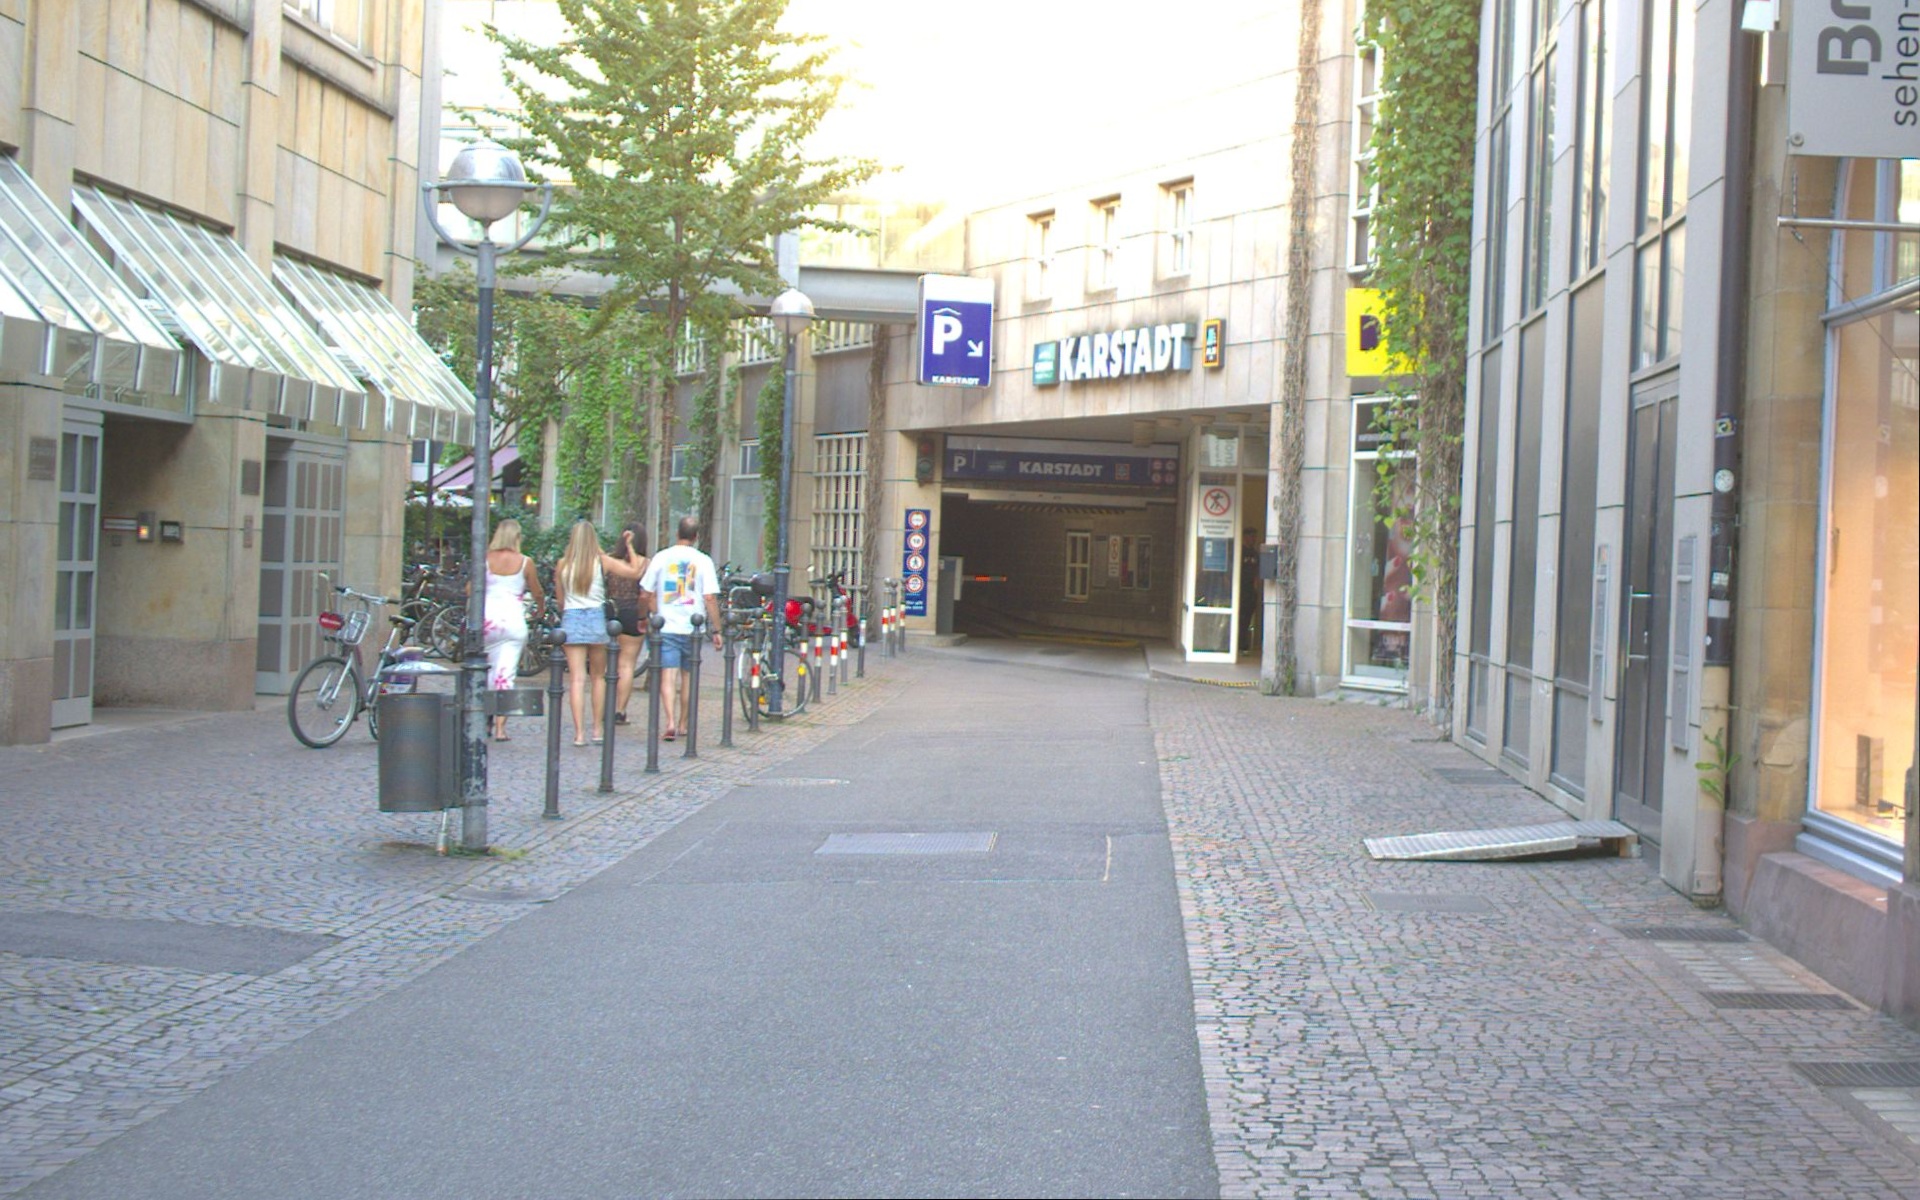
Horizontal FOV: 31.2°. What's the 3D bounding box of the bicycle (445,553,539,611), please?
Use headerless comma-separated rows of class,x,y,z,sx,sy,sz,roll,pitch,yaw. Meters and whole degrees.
bicycle,-9.369,-0.352,68.793,1.773,1.110,0.543,1,1,-15

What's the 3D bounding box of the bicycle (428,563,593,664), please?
bicycle,-5.393,0.163,41.242,1.872,1.173,0.534,1,1,-20

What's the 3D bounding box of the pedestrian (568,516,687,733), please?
pedestrian,-2.828,0.198,29.286,0.785,1.789,0.972,2,1,6

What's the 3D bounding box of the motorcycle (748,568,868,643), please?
motorcycle,-2.219,0.080,50.142,1.662,1.047,0.464,1,1,-18

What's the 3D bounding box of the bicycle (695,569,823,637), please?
bicycle,-3.030,0.048,51.806,1.847,0.979,0.464,1,1,-18

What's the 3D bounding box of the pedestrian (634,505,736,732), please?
pedestrian,-2.260,0.139,28.198,0.742,1.816,0.878,1,1,-7

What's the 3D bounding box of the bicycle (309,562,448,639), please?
bicycle,-8.138,0.005,48.118,1.824,1.039,0.534,1,1,-20

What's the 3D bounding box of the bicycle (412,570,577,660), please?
bicycle,-5.653,0.181,41.785,1.893,1.048,0.534,1,1,-20

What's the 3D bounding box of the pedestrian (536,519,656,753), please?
pedestrian,-2.769,0.260,26.232,0.806,1.723,0.949,2,1,-3

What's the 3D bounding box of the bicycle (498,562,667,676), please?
bicycle,-4.180,0.215,38.060,1.766,1.226,0.534,1,1,-20

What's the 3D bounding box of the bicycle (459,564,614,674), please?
bicycle,-4.849,0.219,39.371,1.653,1.226,0.534,1,1,-20

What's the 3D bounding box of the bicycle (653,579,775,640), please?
bicycle,-3.759,0.146,52.568,1.773,0.901,0.464,1,1,-18

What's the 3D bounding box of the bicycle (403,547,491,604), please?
bicycle,-11.056,-0.528,74.066,1.773,1.186,0.586,1,1,-18

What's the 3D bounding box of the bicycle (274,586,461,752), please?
bicycle,-4.252,0.474,24.793,0.522,1.134,1.763,2,1,19

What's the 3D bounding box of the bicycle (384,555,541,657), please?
bicycle,-6.144,0.073,42.481,1.833,1.221,0.534,1,1,-20

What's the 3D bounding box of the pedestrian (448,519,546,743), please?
pedestrian,-3.541,0.225,26.271,0.674,1.659,0.861,2,1,-8

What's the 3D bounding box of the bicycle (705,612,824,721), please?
bicycle,-1.776,0.598,31.503,0.493,0.935,1.658,3,1,17

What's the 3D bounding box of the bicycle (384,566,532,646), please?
bicycle,-6.760,0.079,46.297,1.876,1.039,0.534,1,1,-20

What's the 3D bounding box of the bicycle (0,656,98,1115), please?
bicycle,-2.730,0.742,8.511,0.533,1.150,1.914,4,1,4

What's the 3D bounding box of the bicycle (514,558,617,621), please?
bicycle,-7.219,-0.189,62.917,1.773,1.110,0.543,1,1,-18

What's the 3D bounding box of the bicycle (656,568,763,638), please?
bicycle,-3.907,0.041,53.649,1.539,1.045,0.575,1,1,-18

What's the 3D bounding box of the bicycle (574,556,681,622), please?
bicycle,-5.857,-0.190,60.596,1.773,1.110,0.543,1,1,-18

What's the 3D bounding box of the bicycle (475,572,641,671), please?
bicycle,-4.701,0.254,40.257,1.836,1.118,0.534,1,1,-20
